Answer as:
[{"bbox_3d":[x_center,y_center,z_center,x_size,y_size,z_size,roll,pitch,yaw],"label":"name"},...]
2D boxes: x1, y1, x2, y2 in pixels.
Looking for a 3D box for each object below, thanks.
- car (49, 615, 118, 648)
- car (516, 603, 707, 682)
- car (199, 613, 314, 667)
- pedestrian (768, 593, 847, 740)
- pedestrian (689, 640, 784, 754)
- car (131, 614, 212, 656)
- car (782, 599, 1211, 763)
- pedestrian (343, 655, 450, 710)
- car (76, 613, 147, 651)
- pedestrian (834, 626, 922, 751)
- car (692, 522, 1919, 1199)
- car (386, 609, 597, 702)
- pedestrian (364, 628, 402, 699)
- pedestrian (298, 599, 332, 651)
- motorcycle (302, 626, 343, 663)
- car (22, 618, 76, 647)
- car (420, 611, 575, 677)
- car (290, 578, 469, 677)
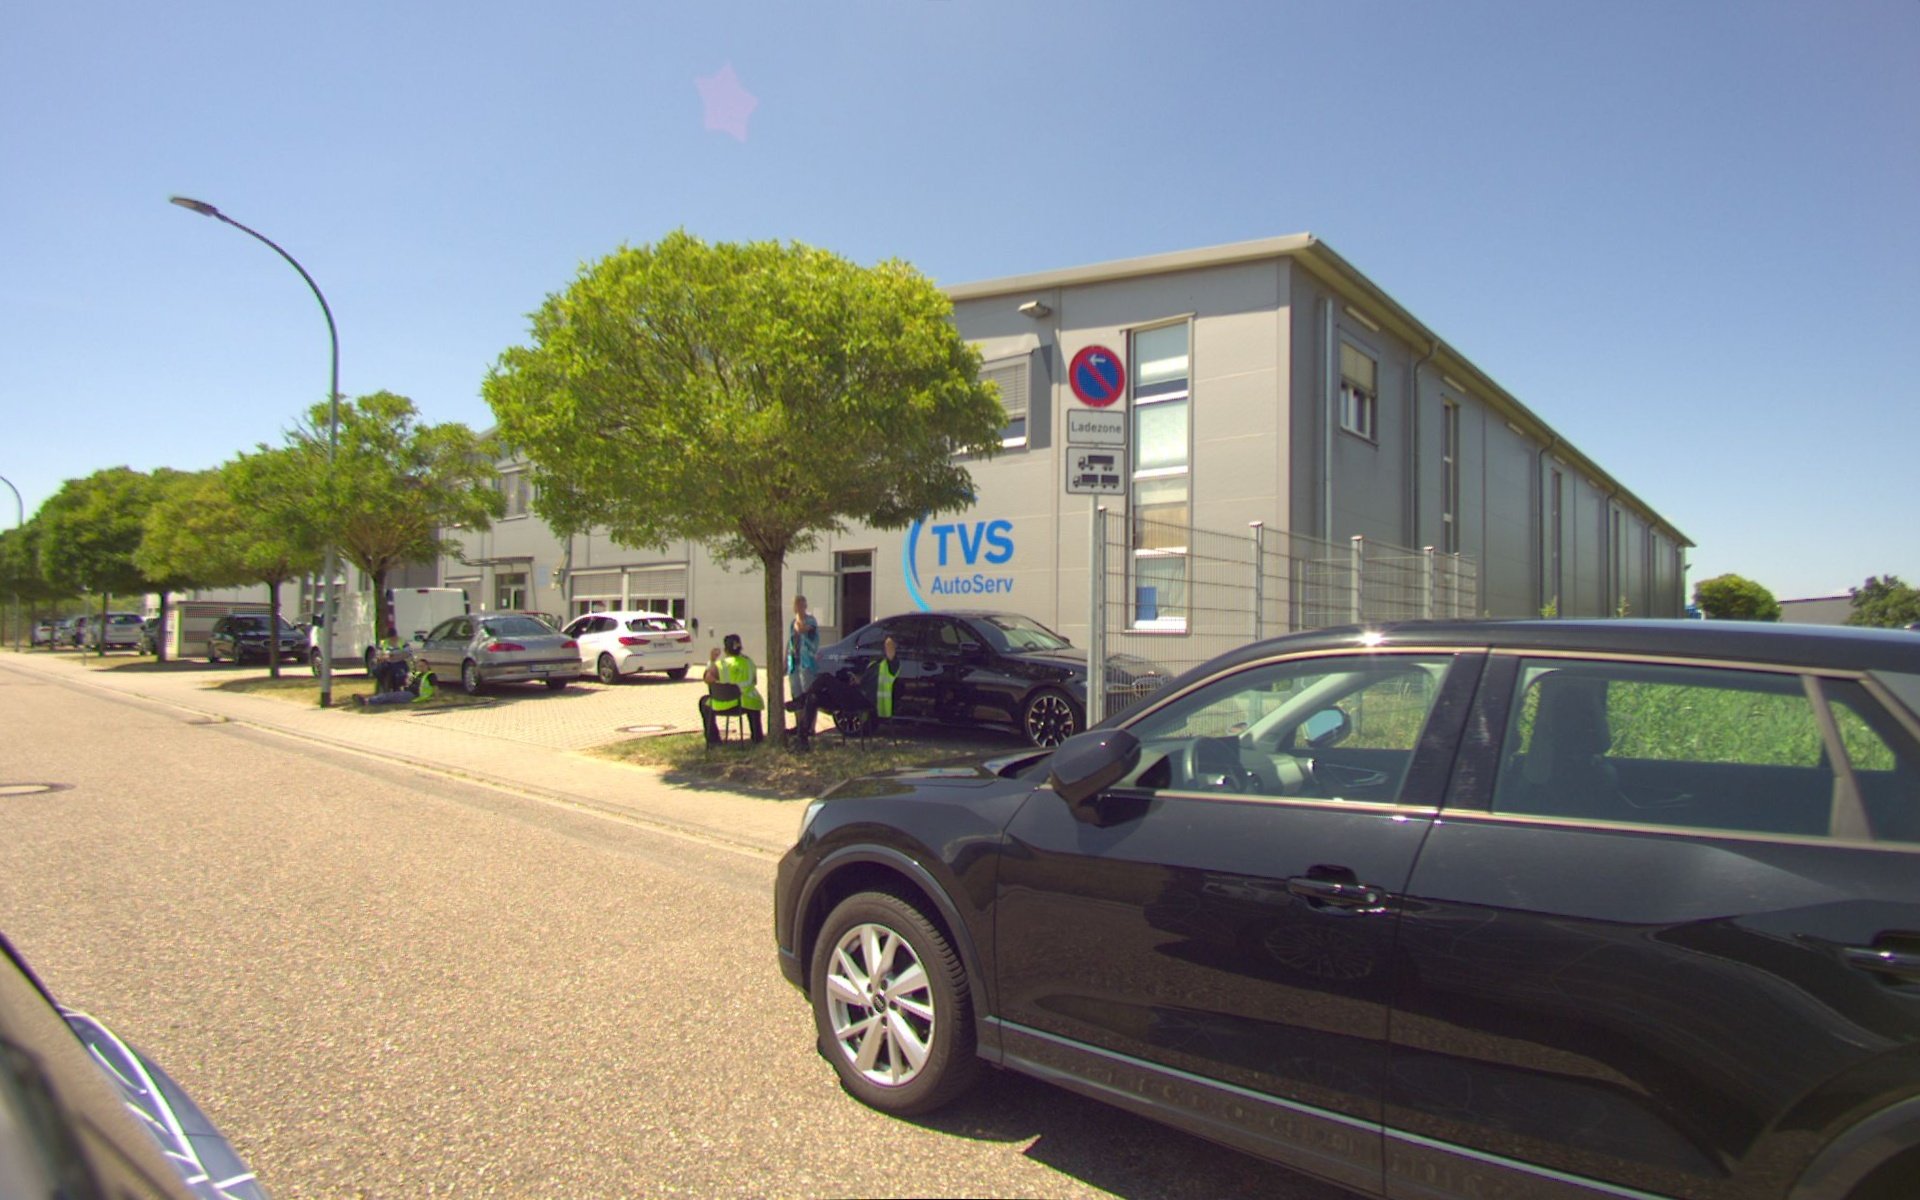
[{"bbox_3d":[-41.145,1.473,47.492,3.697,1.511,1.667,-1,-2,36],"label":"car"},{"bbox_3d":[-7.477,0.851,21.514,4.464,1.476,1.906,-1,0,42],"label":"car"},{"bbox_3d":[-21.192,1.151,30.399,4.712,1.464,1.747,-1,0,41],"label":"car"},{"bbox_3d":[-1.746,0.738,11.567,0.753,1.607,0.500,-1,0,43],"label":"pedestrian"},{"bbox_3d":[-2.376,1.005,10.769,0.647,1.107,0.742,-1,0,45],"label":"pedestrian"},{"bbox_3d":[-29.045,1.273,37.252,3.839,1.464,1.747,-1,-1,42],"label":"car"},{"bbox_3d":[0.253,0.777,11.488,4.688,1.476,1.907,-1,0,40],"label":"car"},{"bbox_3d":[-9.175,1.326,16.500,0.753,0.754,1.343,-1,0,43],"label":"pedestrian"},{"bbox_3d":[-37.037,1.372,44.146,4.538,1.585,1.747,-1,-1,42],"label":"car"},{"bbox_3d":[-0.839,0.878,10.330,0.753,1.200,0.500,-1,0,43],"label":"pedestrian"},{"bbox_3d":[1.290,0.725,2.901,4.186,1.579,1.907,-1,-3,40],"label":"car"},{"bbox_3d":[-9.078,0.952,19.401,4.840,1.451,1.906,0,2,42],"label":"car"},{"bbox_3d":[-9.943,1.084,17.450,0.472,1.159,0.556,-1,3,-39],"label":"pedestrian"},{"bbox_3d":[-25.060,0.963,39.333,0.829,1.987,0.967,0,-1,-9],"label":"pedestrian"},{"bbox_3d":[-20.932,1.442,33.193,2.079,1.171,0.510,-1,0,40],"label":"motorcycle"},{"bbox_3d":[-49.334,1.738,54.774,4.327,1.511,1.804,-1,-1,43],"label":"car"},{"bbox_3d":[-11.500,1.049,25.068,4.083,1.451,1.908,-1,0,40],"label":"car"},{"bbox_3d":[-13.363,0.596,23.167,5.120,2.034,1.819,-1,0,39],"label":"car"}]
